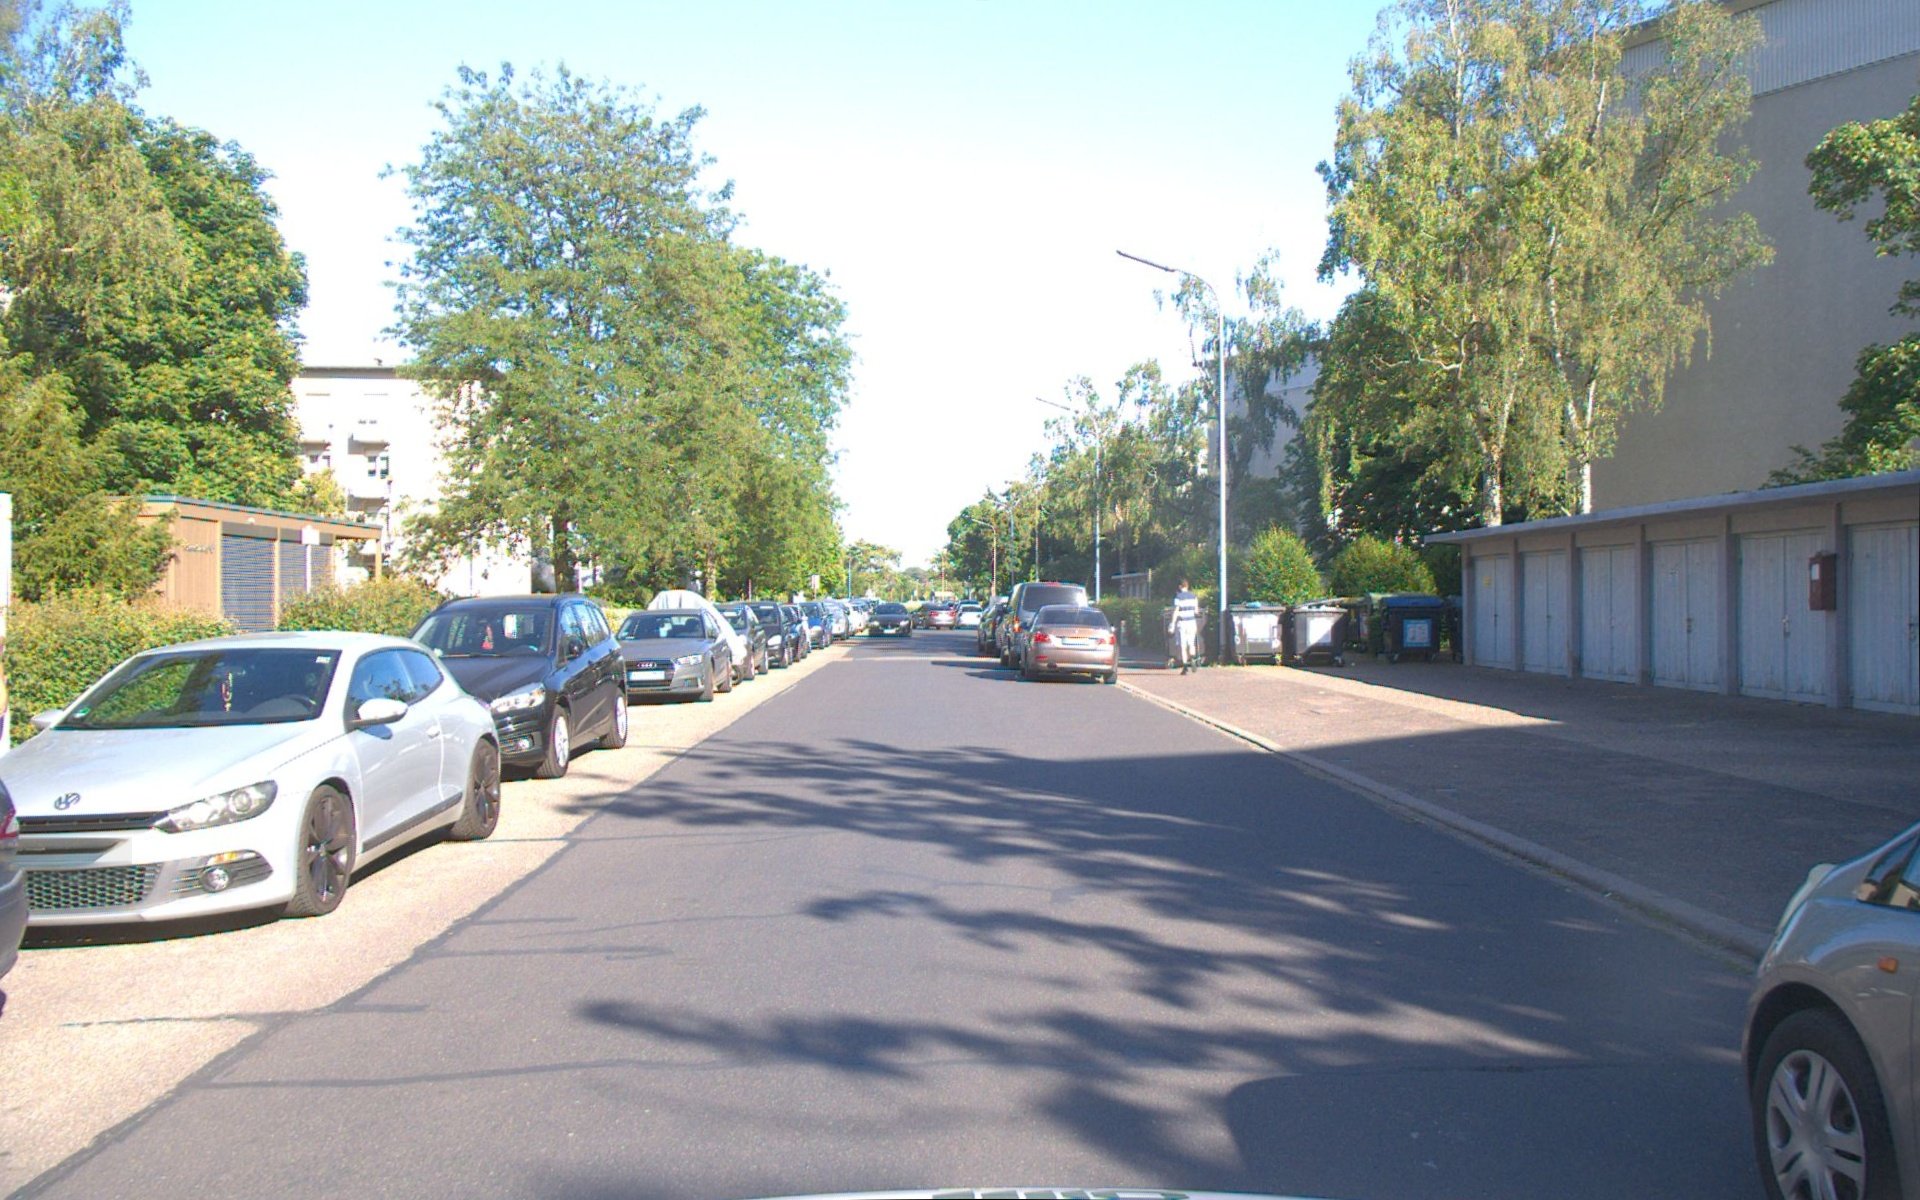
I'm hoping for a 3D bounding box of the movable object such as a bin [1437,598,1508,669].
[{"bbox_3d":[11.384,0.737,36.790,1.250,1.491,1.134,-1,3,2],"label":"movable object such as a bin"}]

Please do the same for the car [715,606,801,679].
[{"bbox_3d":[-4.817,0.976,39.827,1.719,1.601,3.718,-3,0,-3],"label":"car"}]

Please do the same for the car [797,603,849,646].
[{"bbox_3d":[-5.554,0.966,67.503,1.864,1.668,4.347,-1,0,-2],"label":"car"}]

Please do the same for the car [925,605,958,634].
[{"bbox_3d":[-1.066,1.092,93.601,1.646,1.540,4.101,1,0,-4],"label":"car"}]

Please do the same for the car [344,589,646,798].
[{"bbox_3d":[-4.295,0.784,15.987,1.719,1.664,4.369,-3,0,-2],"label":"car"}]

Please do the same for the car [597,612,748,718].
[{"bbox_3d":[-4.513,0.974,26.517,1.719,1.445,4.267,-3,0,-2],"label":"car"}]

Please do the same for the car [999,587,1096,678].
[{"bbox_3d":[1.978,0.717,38.772,1.815,1.968,4.702,1,0,-2],"label":"car"}]

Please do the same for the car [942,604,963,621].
[{"bbox_3d":[-0.727,1.188,159.111,1.760,1.589,3.948,1,0,-4],"label":"car"}]

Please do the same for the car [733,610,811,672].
[{"bbox_3d":[-5.011,1.063,44.541,1.719,1.506,4.535,-3,0,-3],"label":"car"}]

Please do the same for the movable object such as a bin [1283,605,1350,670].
[{"bbox_3d":[7.722,0.805,35.880,1.250,1.389,1.133,-1,0,2],"label":"movable object such as a bin"}]

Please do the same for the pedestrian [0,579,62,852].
[{"bbox_3d":[-6.314,0.722,10.663,0.706,1.708,0.616,0,0,-2],"label":"pedestrian"}]

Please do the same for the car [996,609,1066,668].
[{"bbox_3d":[1.919,1.014,45.613,1.590,1.516,4.034,1,0,-2],"label":"car"}]

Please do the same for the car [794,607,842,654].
[{"bbox_3d":[-5.291,1.111,61.793,1.603,1.634,3.533,-1,0,-2],"label":"car"}]

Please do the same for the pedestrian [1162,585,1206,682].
[{"bbox_3d":[4.560,0.670,33.717,0.689,1.921,0.872,-3,0,-1],"label":"pedestrian"}]

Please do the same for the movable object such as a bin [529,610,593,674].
[{"bbox_3d":[-9.200,0.962,38.160,1.153,1.432,1.343,0,0,-1],"label":"movable object such as a bin"}]

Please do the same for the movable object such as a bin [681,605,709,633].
[{"bbox_3d":[-13.853,0.987,86.526,1.153,1.445,1.462,2,0,0],"label":"movable object such as a bin"}]

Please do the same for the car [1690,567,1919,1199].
[{"bbox_3d":[2.884,0.692,2.625,1.767,1.521,3.795,0,0,0],"label":"car"}]

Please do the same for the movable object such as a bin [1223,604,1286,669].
[{"bbox_3d":[6.450,0.795,36.235,1.198,1.389,1.133,-1,0,2],"label":"movable object such as a bin"}]

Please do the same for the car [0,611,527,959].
[{"bbox_3d":[-3.876,0.837,9.251,1.718,1.450,4.210,-3,-1,0],"label":"car"}]

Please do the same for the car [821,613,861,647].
[{"bbox_3d":[-5.597,1.387,77.688,1.631,1.540,3.532,-1,0,-8],"label":"car"}]

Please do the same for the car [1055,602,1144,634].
[{"bbox_3d":[7.057,0.910,84.103,4.325,1.540,1.828,-1,0,-1],"label":"car"}]

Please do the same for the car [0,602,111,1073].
[{"bbox_3d":[-3.994,0.792,3.555,1.718,1.516,4.900,-3,-1,0],"label":"car"}]

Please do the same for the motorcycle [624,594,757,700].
[{"bbox_3d":[-4.849,0.835,29.882,2.212,1.757,0.931,-3,0,-5],"label":"motorcycle"}]

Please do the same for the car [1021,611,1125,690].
[{"bbox_3d":[2.177,0.950,33.039,1.764,1.443,4.635,1,0,0],"label":"car"}]

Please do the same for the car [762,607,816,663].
[{"bbox_3d":[-5.265,1.046,51.144,1.416,1.601,3.140,-3,0,-3],"label":"car"}]

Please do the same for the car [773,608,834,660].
[{"bbox_3d":[-5.327,1.133,56.669,1.718,1.634,3.968,-3,0,-1],"label":"car"}]

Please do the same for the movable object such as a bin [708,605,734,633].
[{"bbox_3d":[-12.601,1.002,87.141,1.111,1.445,1.361,2,0,0],"label":"movable object such as a bin"}]

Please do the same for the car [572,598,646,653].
[{"bbox_3d":[-10.374,0.740,49.060,1.539,1.552,3.997,1,0,-3],"label":"car"}]

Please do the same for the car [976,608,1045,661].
[{"bbox_3d":[1.520,1.031,51.317,1.697,1.516,4.497,-1,0,-4],"label":"car"}]

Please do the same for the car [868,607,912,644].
[{"bbox_3d":[-3.087,1.111,73.279,1.872,1.502,4.569,-1,0,-2],"label":"car"}]

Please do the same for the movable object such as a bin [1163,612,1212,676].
[{"bbox_3d":[5.121,0.982,37.183,1.004,1.333,1.388,-4,0,9],"label":"movable object such as a bin"}]

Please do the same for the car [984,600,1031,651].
[{"bbox_3d":[1.668,0.877,58.546,1.459,1.748,2.582,1,0,-2],"label":"car"}]

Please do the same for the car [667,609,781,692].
[{"bbox_3d":[-4.804,0.994,34.160,1.718,1.506,3.959,-3,0,0],"label":"car"}]

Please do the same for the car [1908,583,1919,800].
[{"bbox_3d":[8.852,0.646,11.028,4.100,1.521,1.816,0,0,-5],"label":"car"}]

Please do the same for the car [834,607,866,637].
[{"bbox_3d":[-5.969,1.168,89.838,1.653,1.532,3.815,-1,0,-3],"label":"car"}]

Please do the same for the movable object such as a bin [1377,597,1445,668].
[{"bbox_3d":[10.030,0.715,36.823,1.250,1.491,1.134,-1,3,2],"label":"movable object such as a bin"}]

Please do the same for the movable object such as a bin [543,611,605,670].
[{"bbox_3d":[-9.254,0.958,39.689,1.153,1.363,1.343,0,0,0],"label":"movable object such as a bin"}]

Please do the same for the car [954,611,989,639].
[{"bbox_3d":[0.632,1.437,96.716,1.718,1.540,4.101,1,0,-4],"label":"car"}]

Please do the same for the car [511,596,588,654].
[{"bbox_3d":[-12.303,0.730,49.763,1.539,1.669,3.997,1,0,-3],"label":"car"}]
